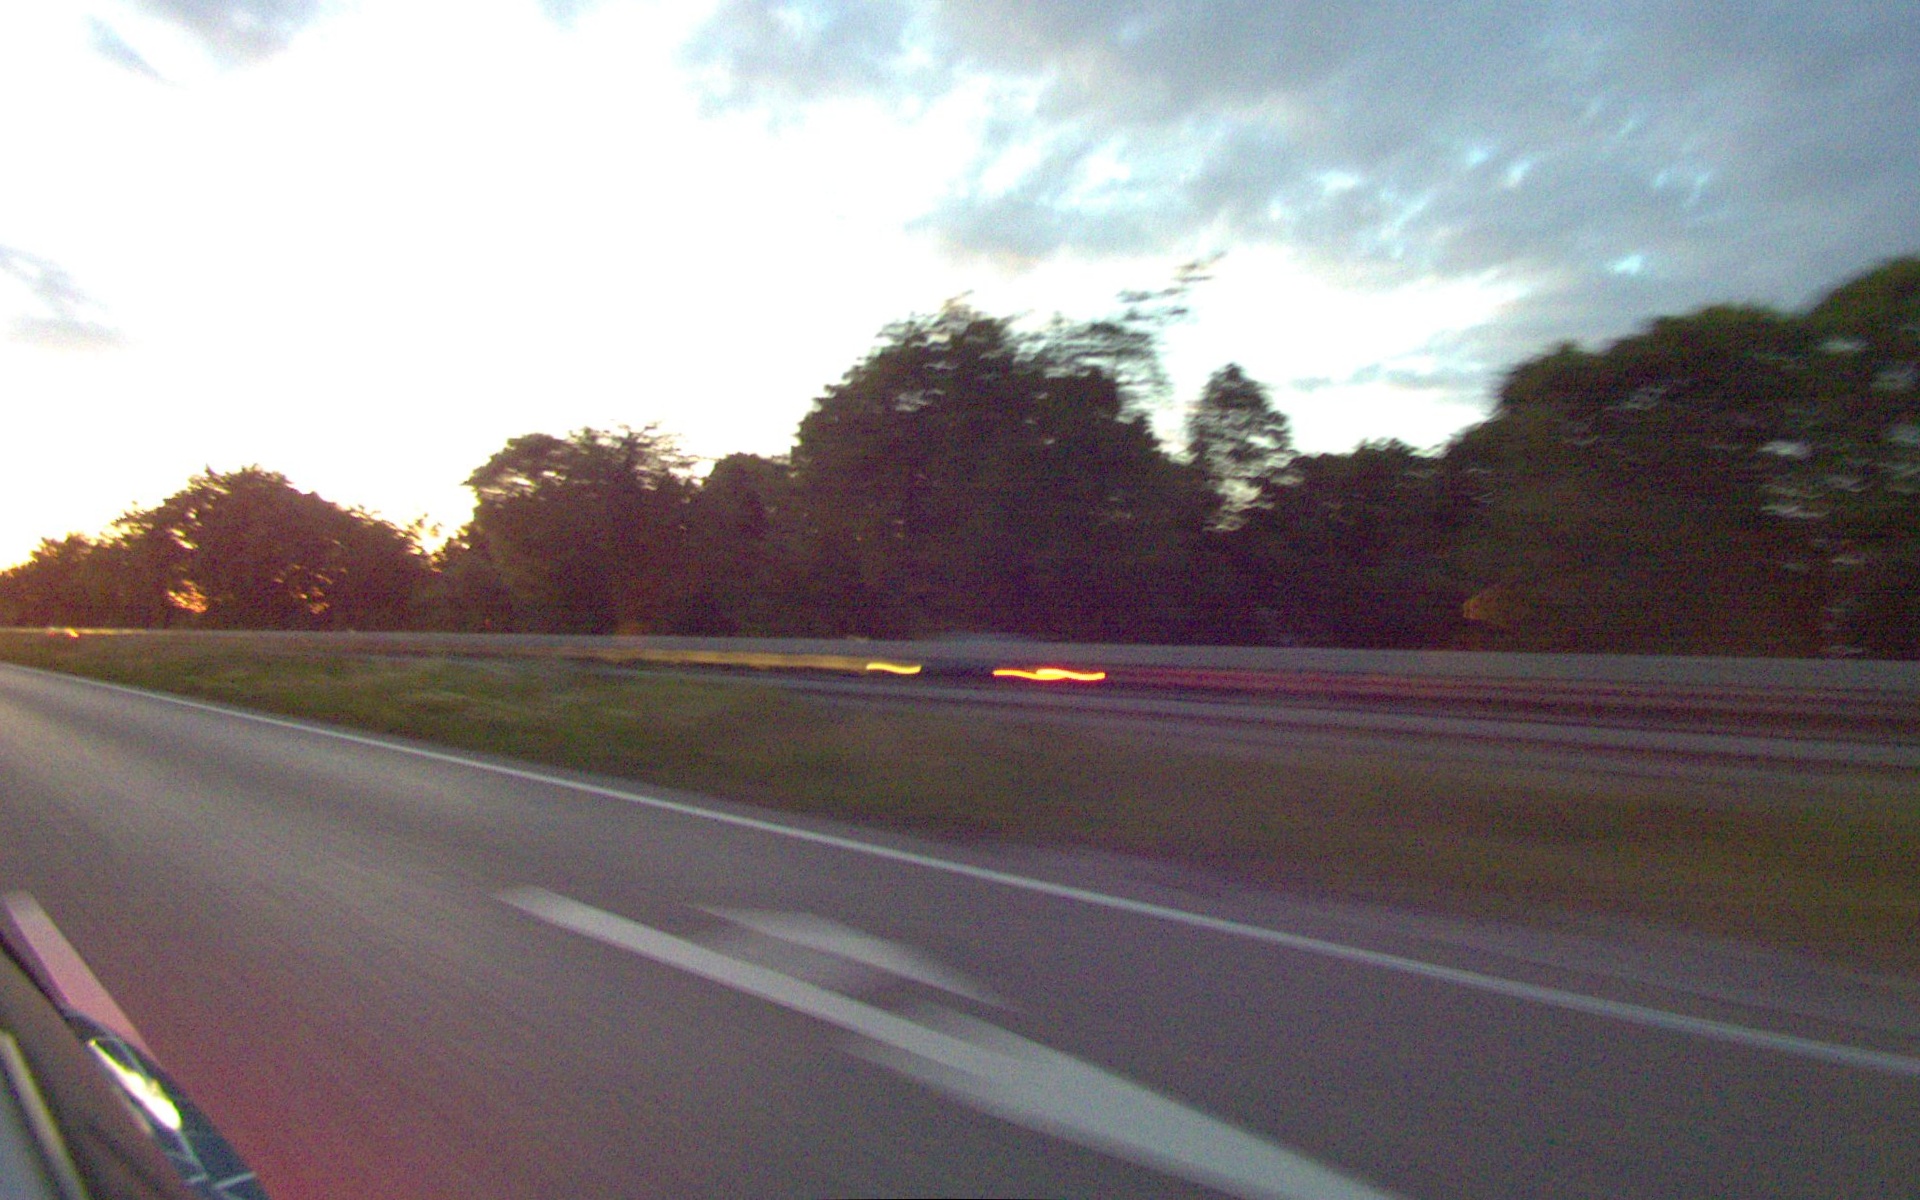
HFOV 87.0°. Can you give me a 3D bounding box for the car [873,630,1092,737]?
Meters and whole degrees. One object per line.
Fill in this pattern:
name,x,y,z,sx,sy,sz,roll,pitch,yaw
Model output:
car,0.352,1.485,19.170,3.998,1.771,1.652,-1,-1,41
